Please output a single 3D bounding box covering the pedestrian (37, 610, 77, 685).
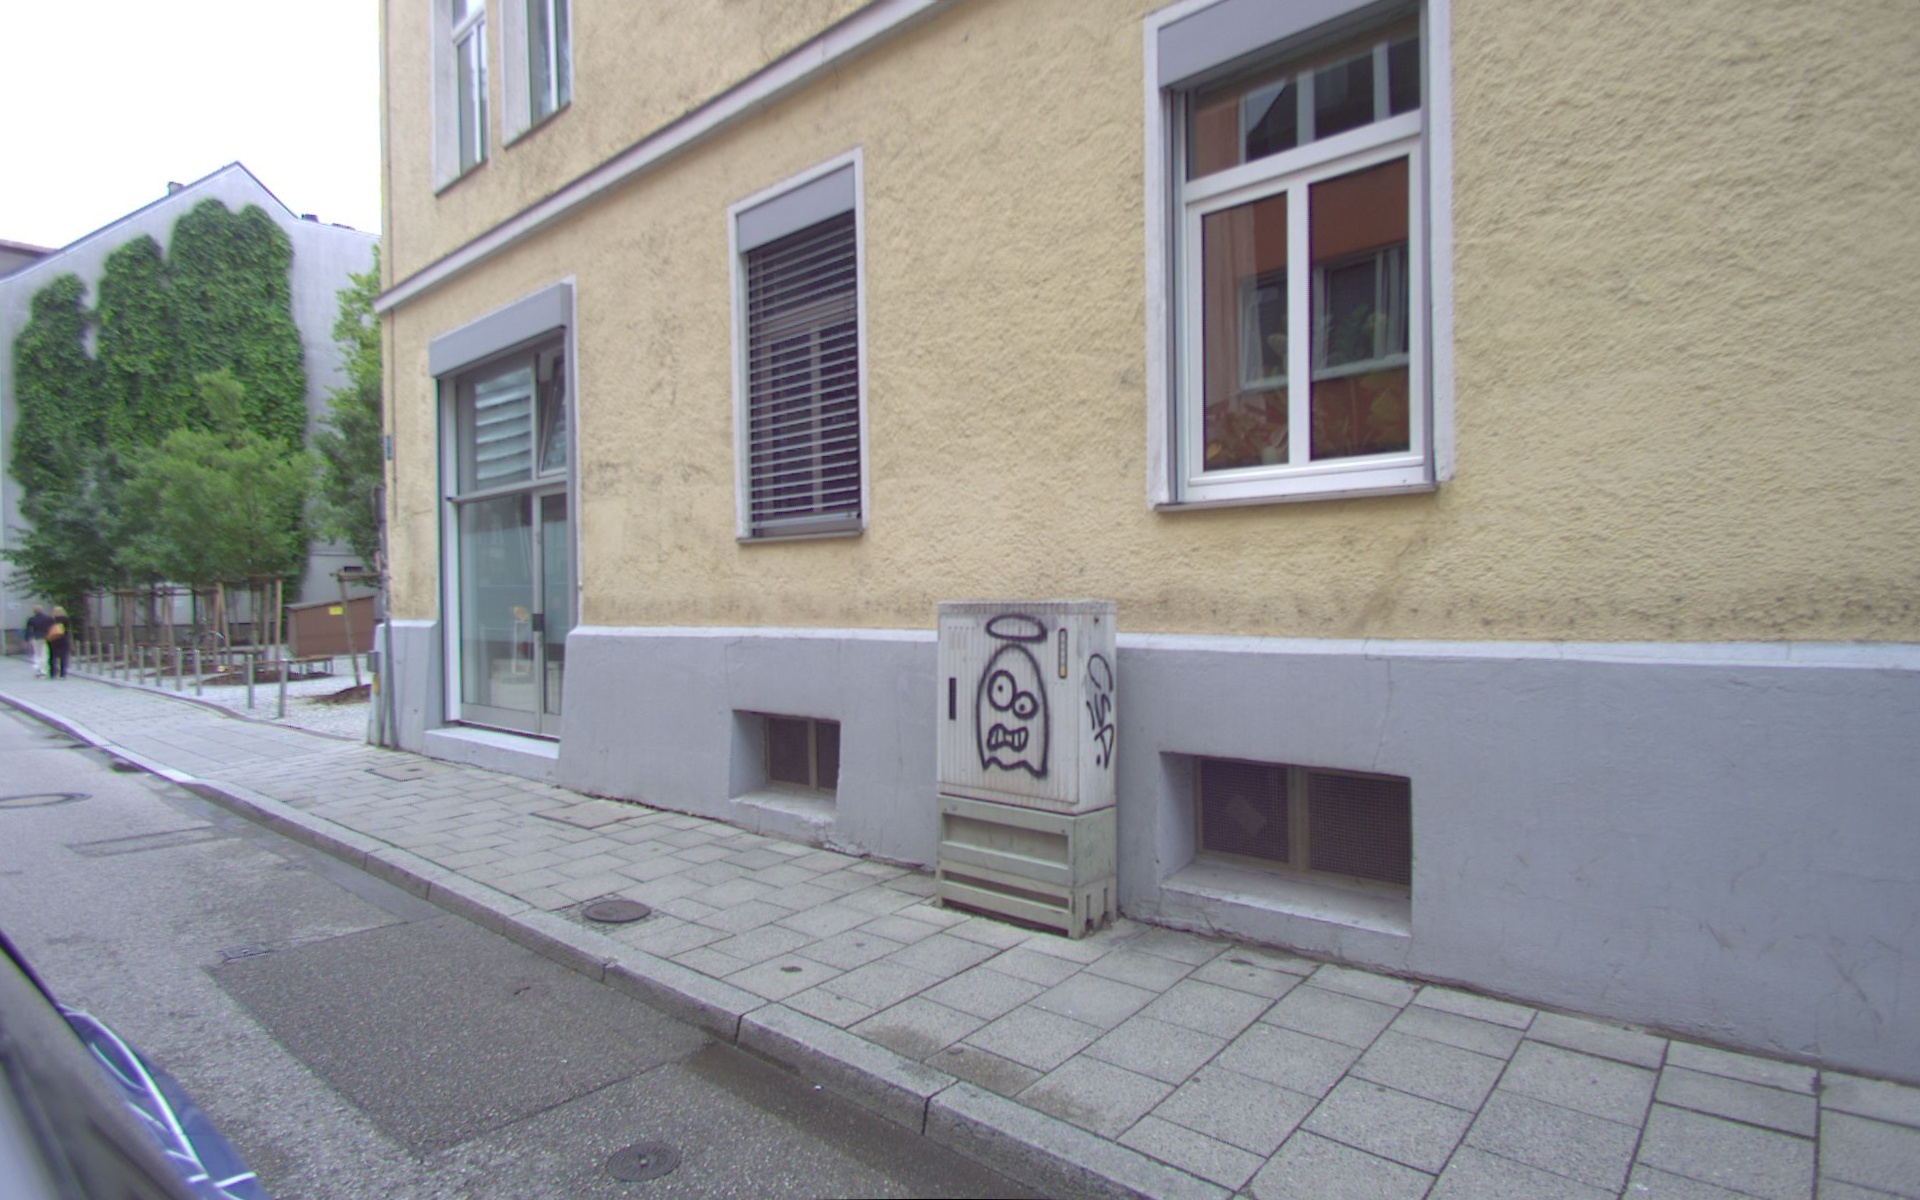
[{"bbox_3d":[-20.839,1.083,23.351,0.997,1.672,0.546,-1,0,41],"label":"pedestrian"}]

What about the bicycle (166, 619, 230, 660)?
[{"bbox_3d":[-23.819,1.231,31.642,1.986,1.217,0.708,-1,1,24],"label":"bicycle"}]

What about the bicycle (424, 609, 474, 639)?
[{"bbox_3d":[-20.643,0.968,40.876,1.700,1.151,0.603,-1,0,-43],"label":"bicycle"}]

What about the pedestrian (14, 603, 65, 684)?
[{"bbox_3d":[-21.754,0.999,23.907,0.991,1.850,0.767,-1,0,41],"label":"pedestrian"}]
